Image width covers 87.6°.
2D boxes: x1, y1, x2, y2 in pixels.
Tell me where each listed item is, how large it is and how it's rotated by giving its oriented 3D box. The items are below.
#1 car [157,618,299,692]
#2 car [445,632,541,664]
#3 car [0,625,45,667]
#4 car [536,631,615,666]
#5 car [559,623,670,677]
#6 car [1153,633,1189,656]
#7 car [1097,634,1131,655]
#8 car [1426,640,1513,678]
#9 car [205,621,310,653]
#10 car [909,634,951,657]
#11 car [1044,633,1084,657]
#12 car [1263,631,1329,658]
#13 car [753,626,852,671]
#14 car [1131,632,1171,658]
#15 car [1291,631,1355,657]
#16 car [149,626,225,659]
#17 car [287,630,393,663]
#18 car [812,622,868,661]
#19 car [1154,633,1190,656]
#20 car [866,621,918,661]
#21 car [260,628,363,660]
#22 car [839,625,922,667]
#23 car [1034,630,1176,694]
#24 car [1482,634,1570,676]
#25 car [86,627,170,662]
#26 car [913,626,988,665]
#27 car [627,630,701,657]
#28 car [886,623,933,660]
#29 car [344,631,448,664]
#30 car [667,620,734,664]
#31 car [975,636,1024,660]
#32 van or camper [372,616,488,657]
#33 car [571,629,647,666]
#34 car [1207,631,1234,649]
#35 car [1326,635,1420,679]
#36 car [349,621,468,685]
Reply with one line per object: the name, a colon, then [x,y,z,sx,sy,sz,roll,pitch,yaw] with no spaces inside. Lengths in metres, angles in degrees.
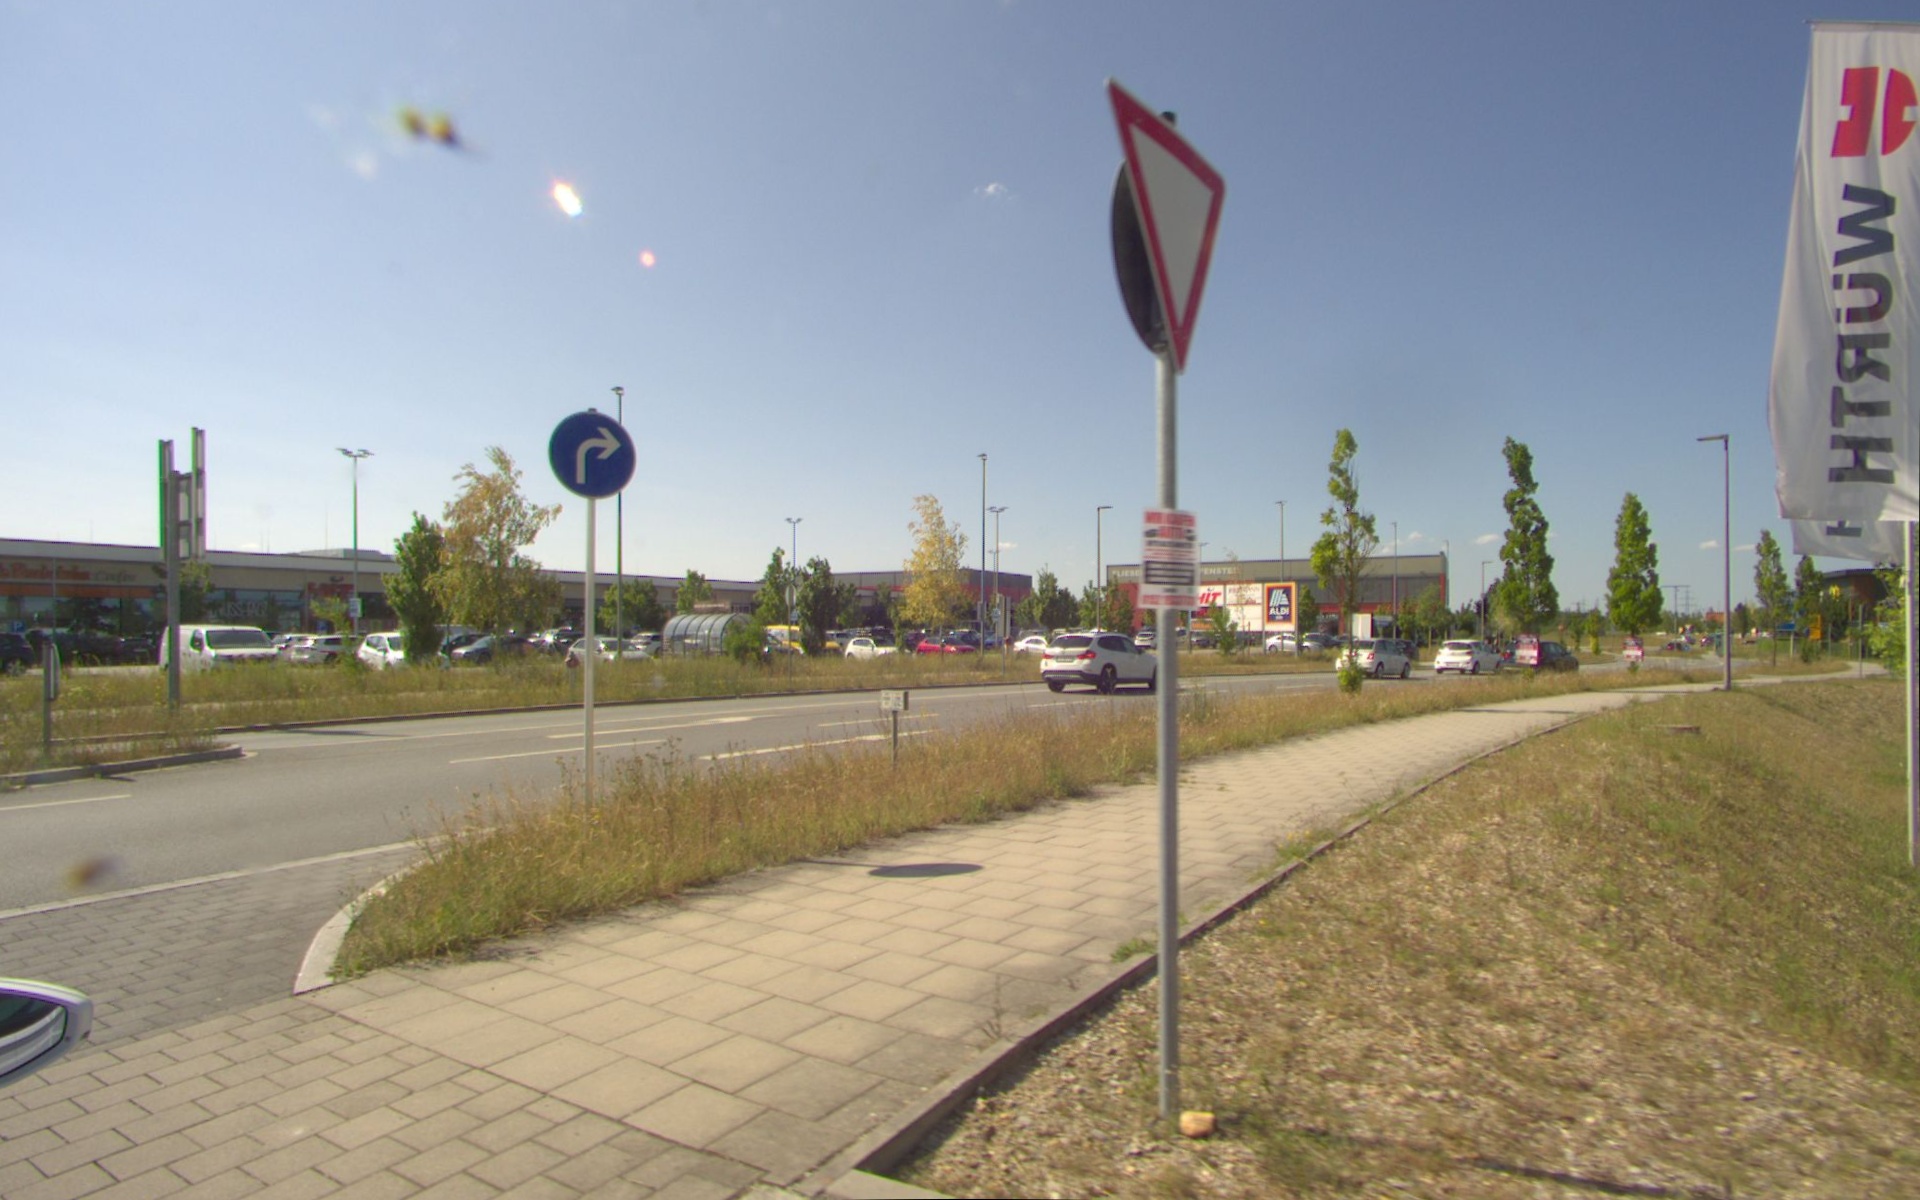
car: [-22.064,1.584,30.120,5.162,2.039,2.074,-1,-2,37]
car: [-22.938,2.342,49.335,1.847,1.527,3.983,-1,-2,30]
car: [-35.725,1.670,36.037,1.706,1.528,3.790,-1,-2,29]
car: [-24.480,3.069,63.883,1.972,2.129,4.461,-1,-2,33]
car: [-13.947,1.971,40.251,5.061,2.039,2.146,-1,-2,43]
car: [18.945,3.991,89.908,1.970,2.063,4.467,-1,-2,29]
car: [15.596,4.468,101.123,1.970,2.063,4.467,-1,-2,29]
car: [22.361,2.543,43.856,4.714,1.571,1.929,2,-3,-43]
car: [-33.035,1.724,47.165,1.704,1.408,3.720,-1,-2,26]
car: [-2.806,4.260,94.204,1.970,2.063,4.467,-1,-2,29]
car: [9.261,3.981,88.659,1.970,2.063,4.467,-1,-2,29]
car: [25.925,3.442,77.296,4.434,2.063,1.984,-2,-3,41]
car: [-7.527,2.244,47.526,2.144,2.039,5.066,1,-2,-44]
car: [16.151,3.782,84.552,1.970,2.063,4.467,-1,-2,29]
car: [29.314,3.578,80.931,4.434,2.063,1.984,-2,-3,41]
car: [-41.412,2.239,53.627,3.943,1.729,1.990,-1,-1,33]
car: [-27.673,2.056,44.775,1.704,1.408,3.720,-1,-2,26]
car: [-9.054,3.126,75.687,1.970,2.857,4.467,-1,-2,29]
car: [19.063,3.989,89.857,1.970,2.063,4.467,-1,-2,29]
car: [-4.865,2.986,72.711,1.967,2.857,4.474,-1,-2,23]
car: [-30.093,2.021,46.562,1.704,1.408,3.720,-1,-2,26]
car: [-4.084,2.314,51.192,1.926,2.039,4.367,2,-2,-44]
car: [4.026,1.623,27.135,1.721,1.571,4.537,-2,-3,39]
car: [22.526,2.154,39.794,4.347,1.571,1.896,2,-3,-44]
car: [-42.492,2.253,51.154,3.938,1.729,1.992,-1,-1,28]
car: [-0.544,2.441,54.518,1.864,2.039,4.101,2,-2,-42]
car: [-17.619,2.603,59.785,1.631,1.539,4.331,-1,-2,31]
car: [-3.949,3.265,79.589,1.967,2.857,4.474,-1,-2,23]
car: [-24.928,2.067,44.371,1.704,1.408,3.720,-1,-2,26]
car: [-17.242,2.791,66.731,1.967,2.857,4.474,-1,-2,23]
car: [3.038,3.620,76.154,1.970,1.806,4.298,-1,-2,29]
van or camper: [-27.502,1.867,52.130,1.971,2.039,5.028,0,-1,31]
car: [-21.801,2.951,62.400,1.967,2.219,4.474,-1,-2,23]
car: [30.801,4.707,118.349,1.970,2.063,4.467,-1,-2,29]
car: [15.629,2.118,37.817,3.741,1.571,1.728,2,-3,-39]
car: [-18.928,1.746,34.272,5.061,2.039,2.146,-1,-2,43]
